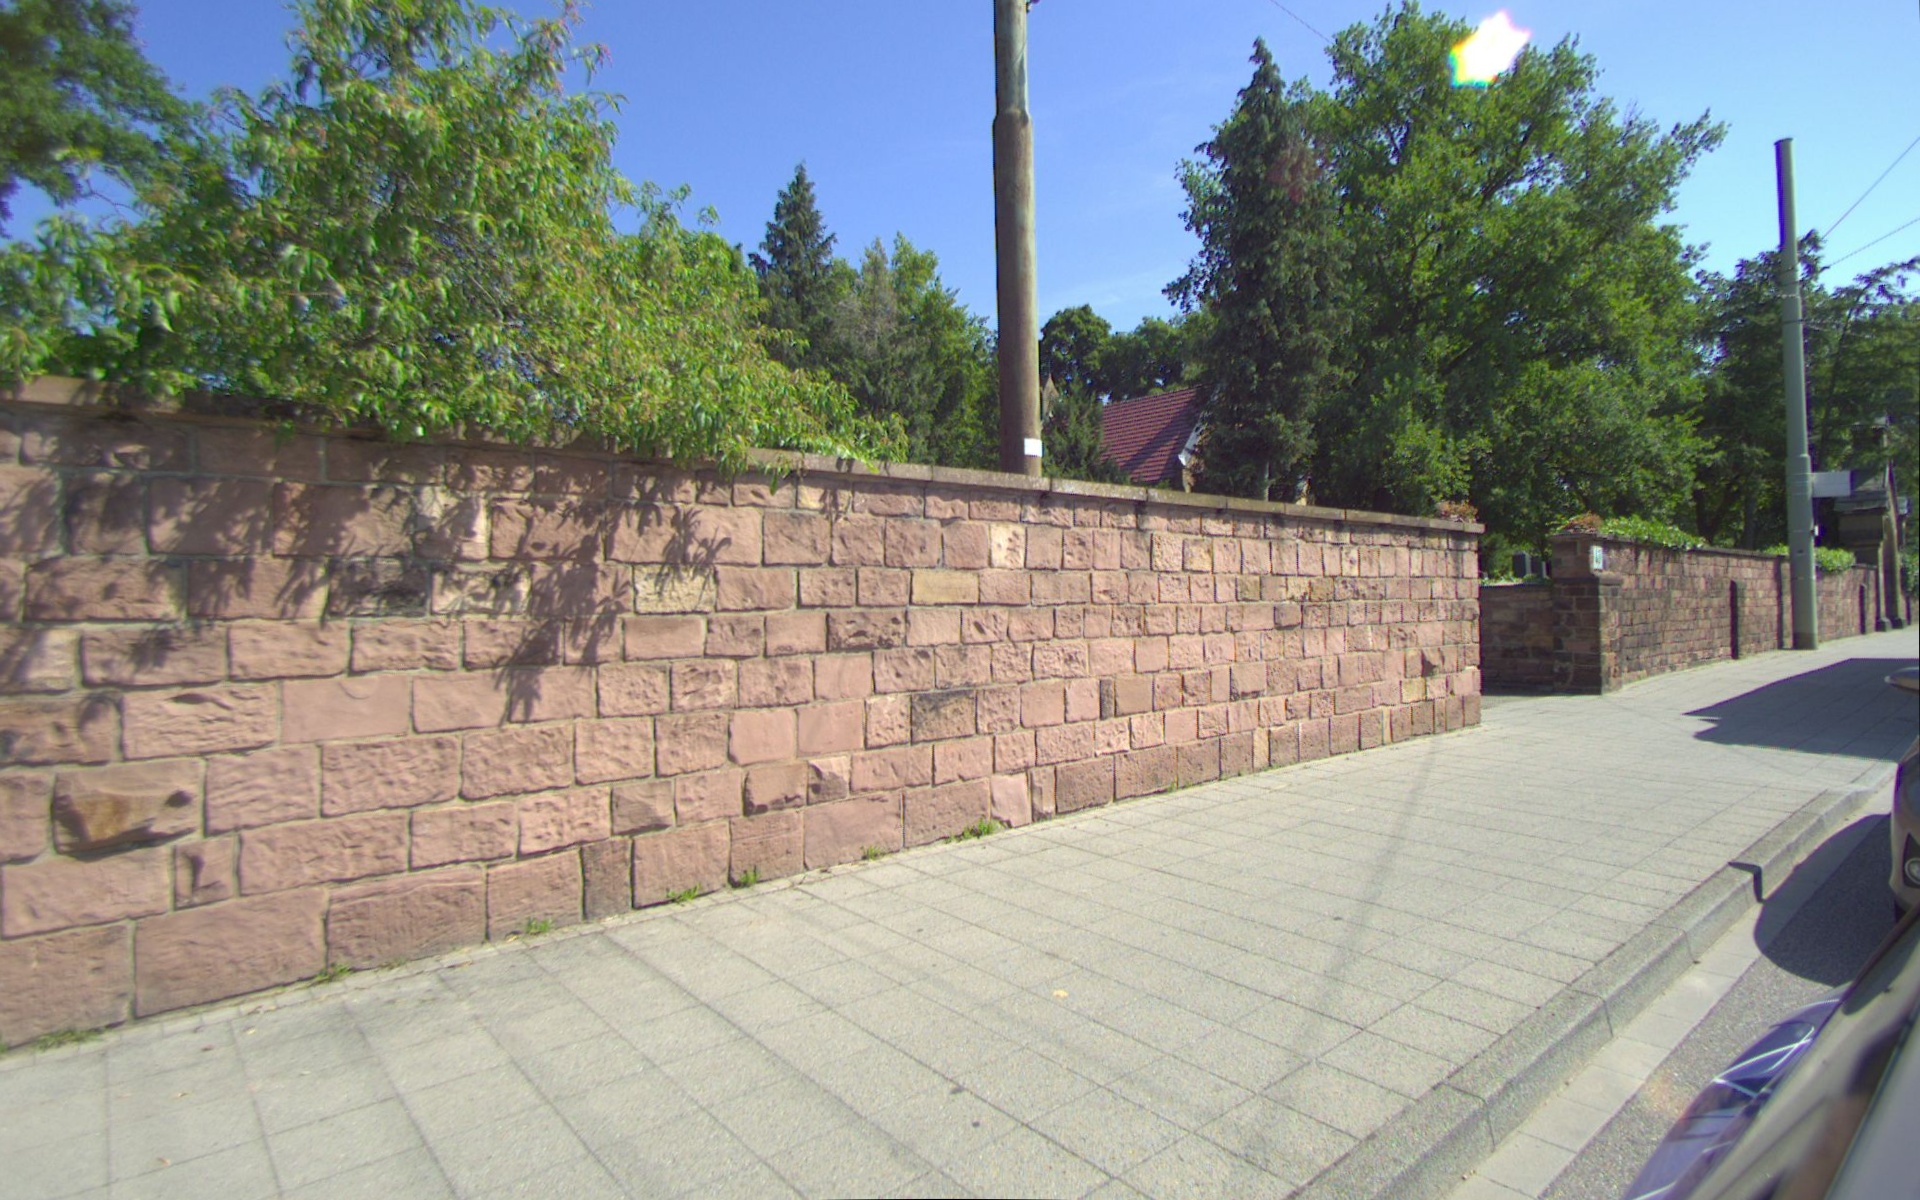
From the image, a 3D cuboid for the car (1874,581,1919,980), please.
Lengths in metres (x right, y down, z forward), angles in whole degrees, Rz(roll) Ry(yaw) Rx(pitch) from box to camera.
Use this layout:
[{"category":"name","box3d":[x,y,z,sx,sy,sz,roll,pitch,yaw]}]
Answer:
[{"category":"car","box3d":[5.629,0.613,4.526,4.384,1.451,1.741,-1,0,-41]}]
